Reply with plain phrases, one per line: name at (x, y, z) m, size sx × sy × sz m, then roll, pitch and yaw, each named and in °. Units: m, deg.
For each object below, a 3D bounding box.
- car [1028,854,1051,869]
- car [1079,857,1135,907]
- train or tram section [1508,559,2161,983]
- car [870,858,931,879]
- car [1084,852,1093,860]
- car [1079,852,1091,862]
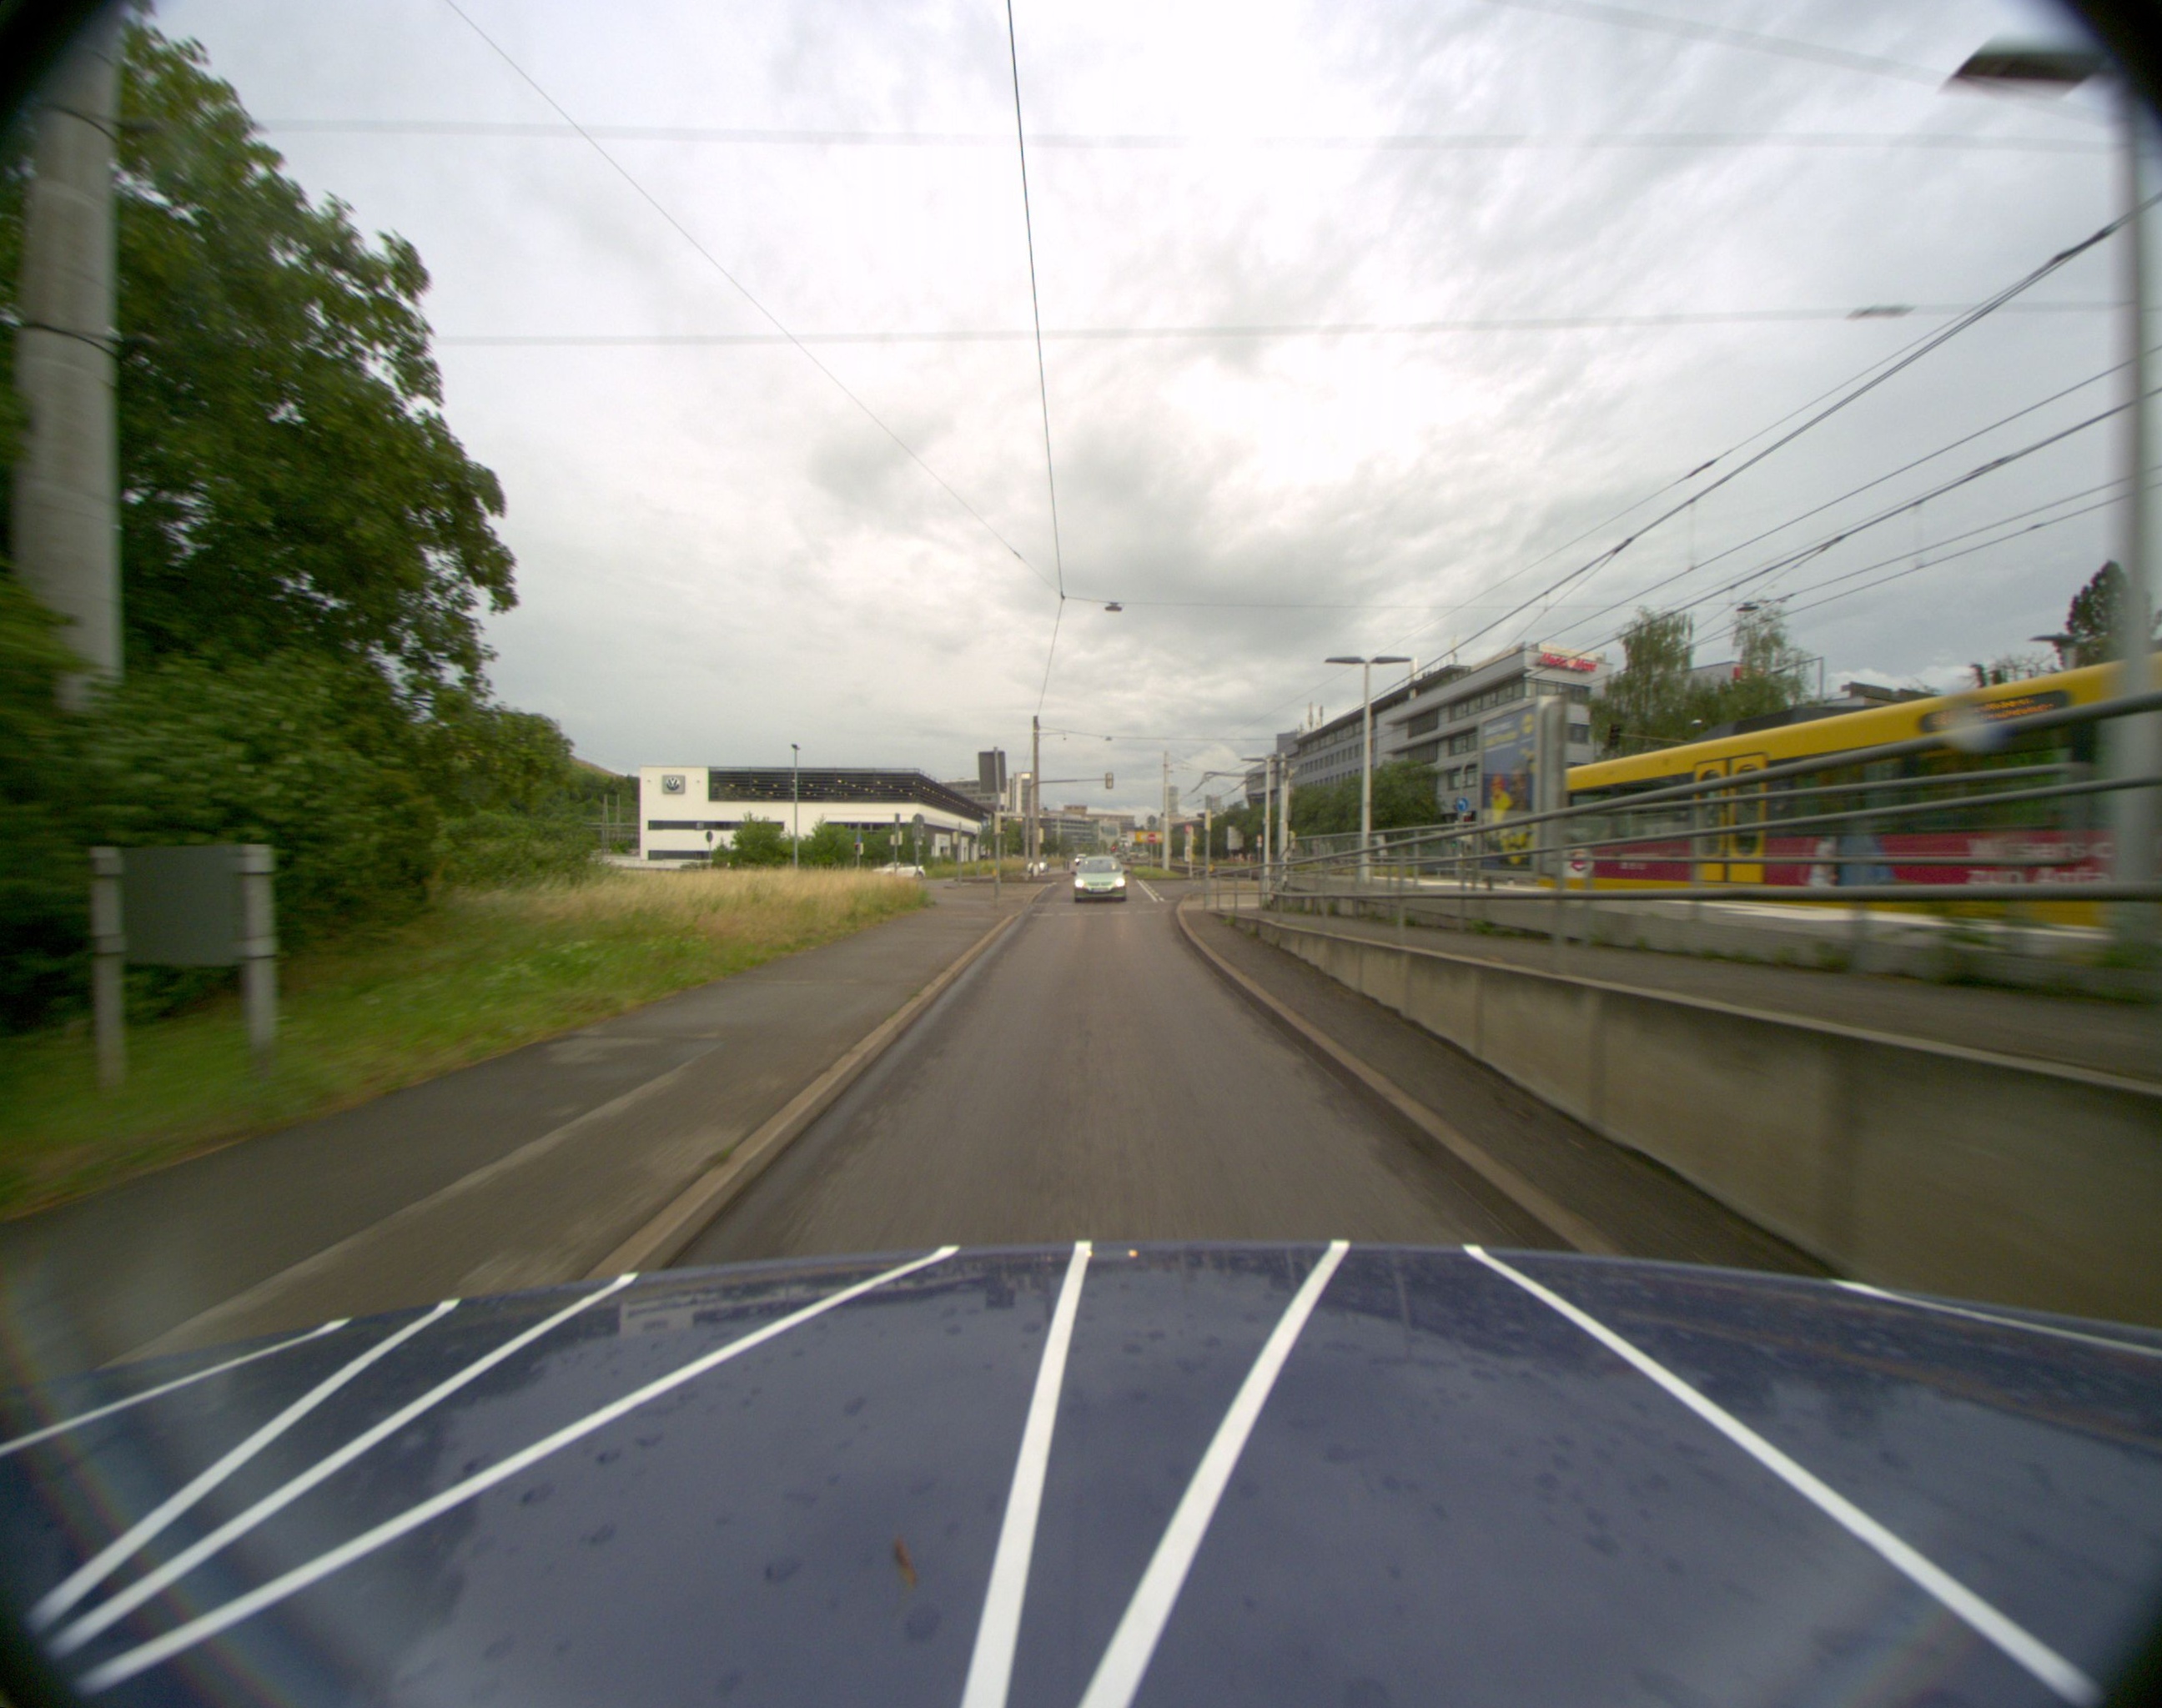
car at (-4.299, 0.741, 78.432) m, size 1.993 × 1.531 × 4.110 m, roll 0°, pitch 0°, yaw 2°
car at (0.944, 0.888, 26.171) m, size 1.780 × 1.493 × 4.000 m, roll 1°, pitch 1°, yaw 3°
train or tram section at (11.622, -0.830, 9.172) m, size 2.874 × 3.950 × 19.332 m, roll -2°, pitch 0°, yaw 3°
car at (-13.930, 1.105, 58.820) m, size 2.035 × 1.531 × 4.118 m, roll 0°, pitch 1°, yaw 44°
car at (1.441, 0.382, 147.254) m, size 1.701 × 1.429 × 3.965 m, roll 0°, pitch 0°, yaw 1°
car at (0.687, 0.497, 123.283) m, size 1.993 × 1.531 × 4.109 m, roll 0°, pitch 0°, yaw 1°
